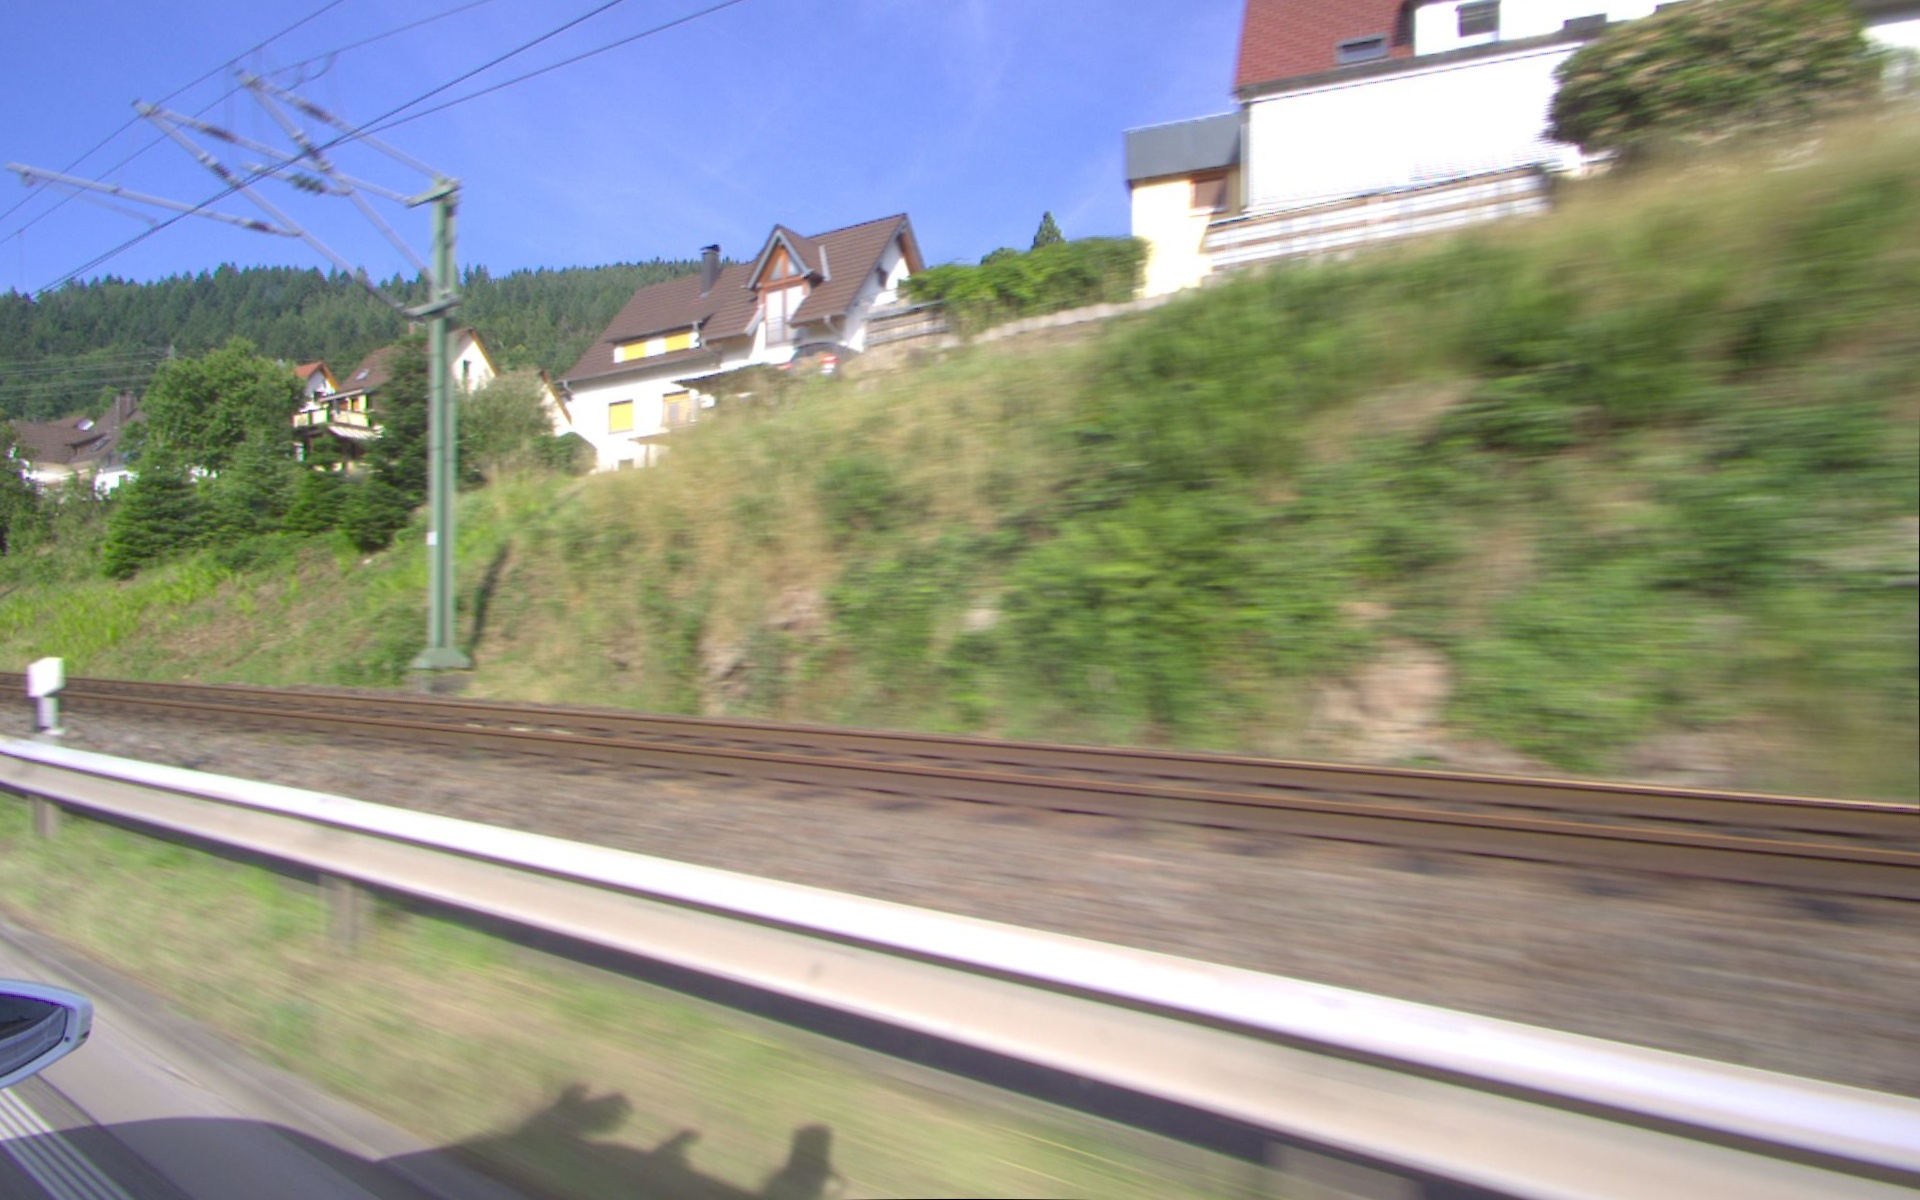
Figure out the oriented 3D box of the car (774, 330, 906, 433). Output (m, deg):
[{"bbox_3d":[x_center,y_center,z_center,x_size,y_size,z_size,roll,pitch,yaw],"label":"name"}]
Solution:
[{"bbox_3d":[-3.058,-5.636,26.290,1.724,1.559,3.743,-2,-4,25],"label":"car"}]
